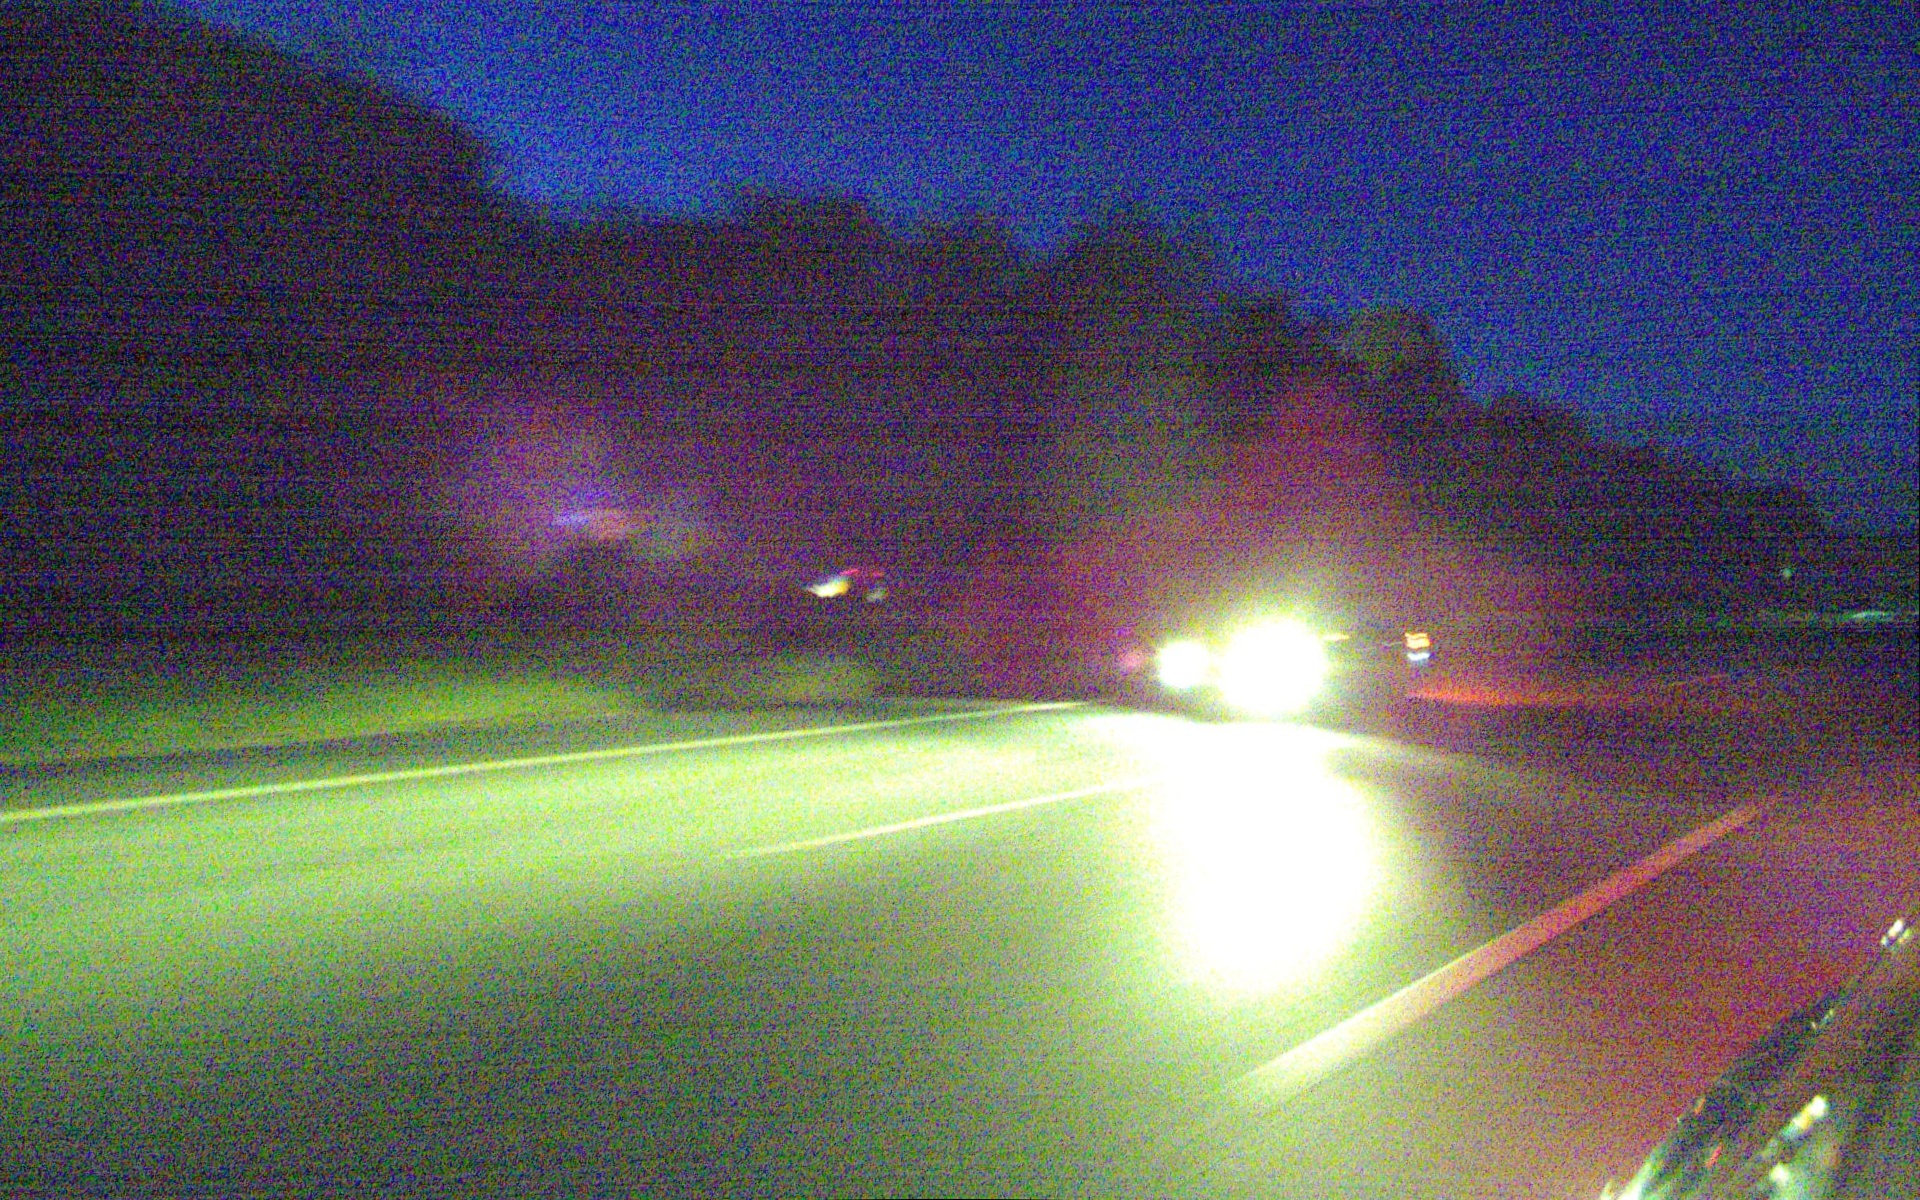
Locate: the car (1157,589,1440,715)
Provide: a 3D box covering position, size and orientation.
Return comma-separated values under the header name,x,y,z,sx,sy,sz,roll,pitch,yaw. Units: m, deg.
name,x,y,z,sx,sy,sz,roll,pitch,yaw
car,4.779,0.607,14.022,4.173,1.485,1.824,0,0,-40
